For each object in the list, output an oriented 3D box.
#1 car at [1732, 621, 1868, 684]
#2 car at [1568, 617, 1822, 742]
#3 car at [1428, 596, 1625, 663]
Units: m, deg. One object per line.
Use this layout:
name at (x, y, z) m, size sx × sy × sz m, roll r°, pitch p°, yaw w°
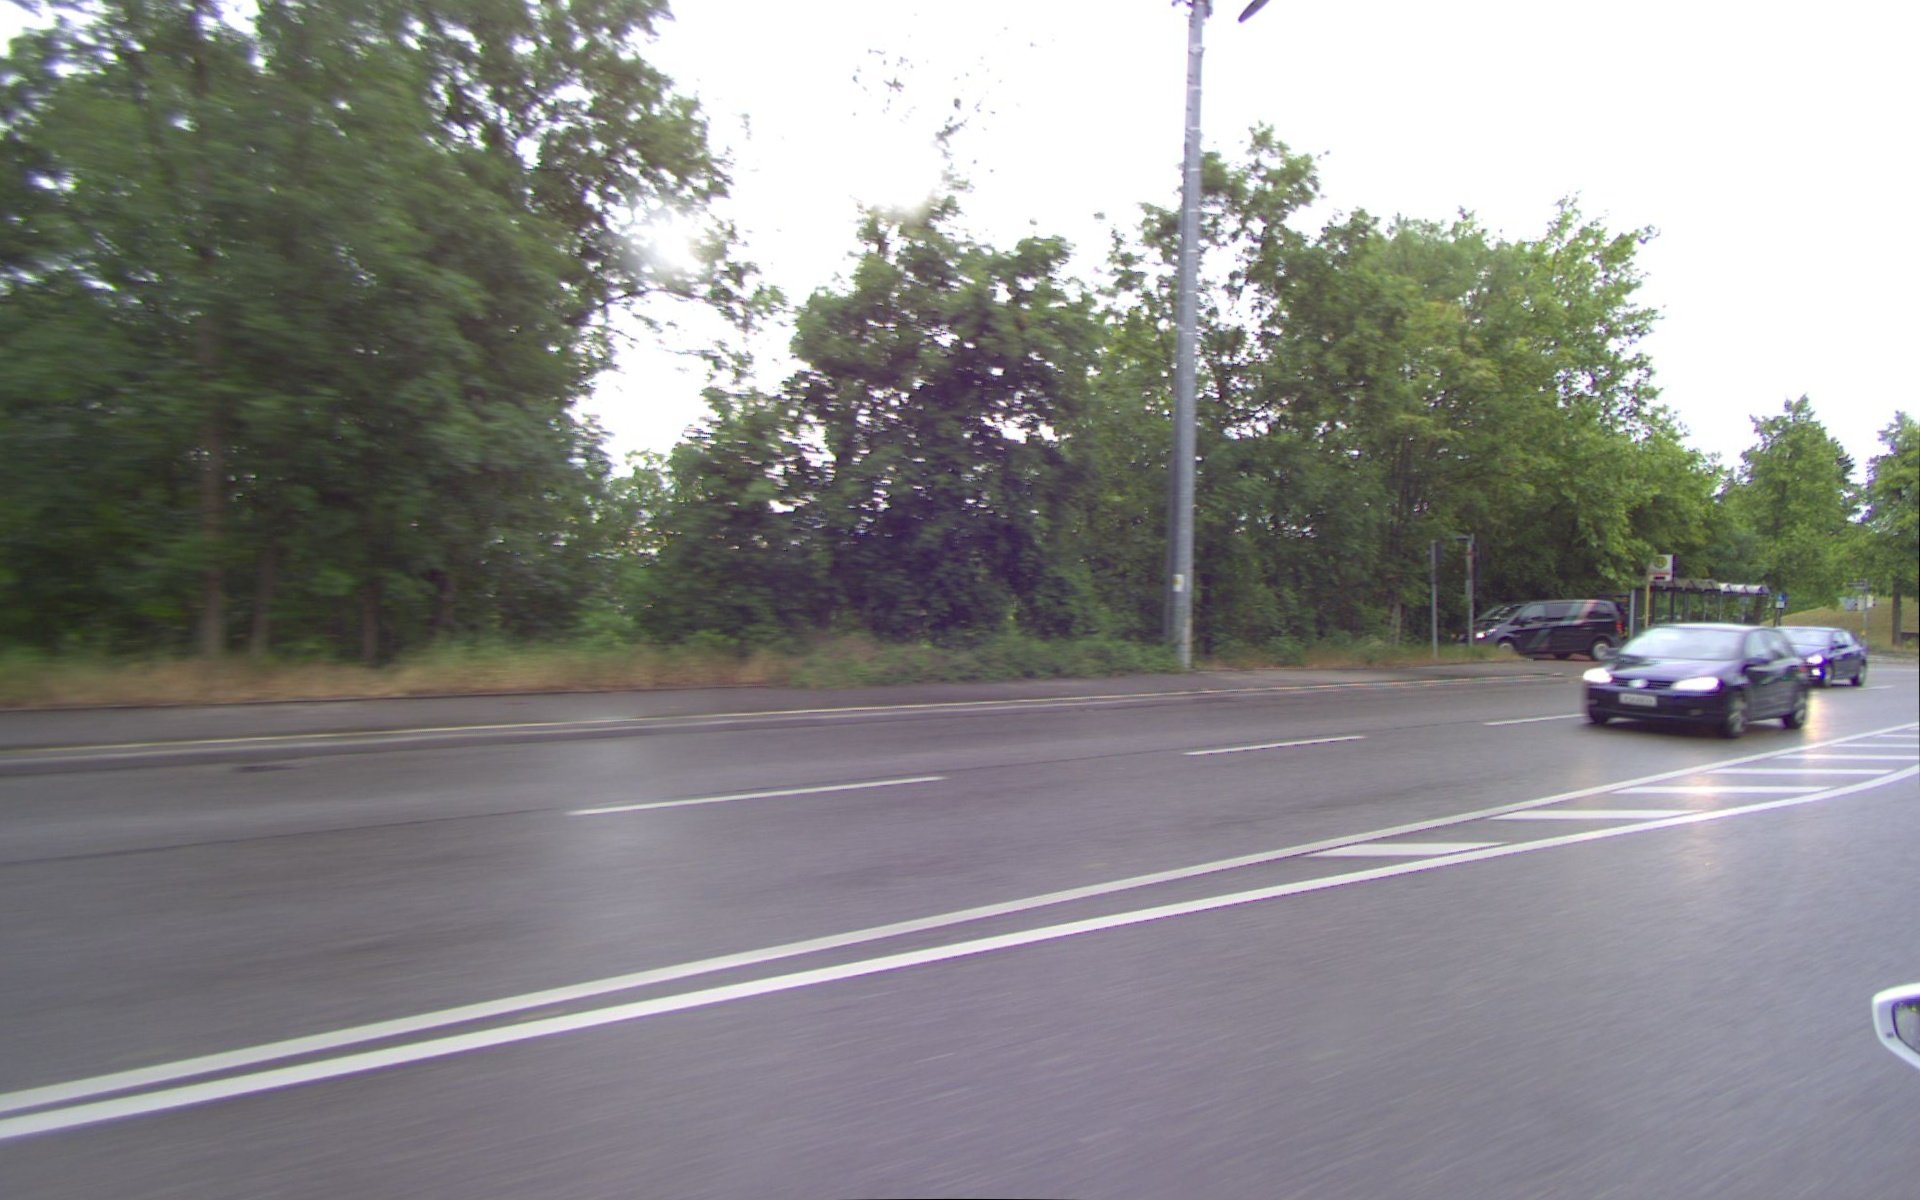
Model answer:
car at (21.016, 1.274, 25.090) m, size 3.960 × 1.413 × 1.620 m, roll 2°, pitch 0°, yaw -35°
car at (10.429, 1.024, 14.170) m, size 4.039 × 1.446 × 1.689 m, roll 1°, pitch 1°, yaw -36°
car at (17.658, 0.900, 31.460) m, size 5.062 × 1.972 × 2.108 m, roll 0°, pitch -1°, yaw -5°
